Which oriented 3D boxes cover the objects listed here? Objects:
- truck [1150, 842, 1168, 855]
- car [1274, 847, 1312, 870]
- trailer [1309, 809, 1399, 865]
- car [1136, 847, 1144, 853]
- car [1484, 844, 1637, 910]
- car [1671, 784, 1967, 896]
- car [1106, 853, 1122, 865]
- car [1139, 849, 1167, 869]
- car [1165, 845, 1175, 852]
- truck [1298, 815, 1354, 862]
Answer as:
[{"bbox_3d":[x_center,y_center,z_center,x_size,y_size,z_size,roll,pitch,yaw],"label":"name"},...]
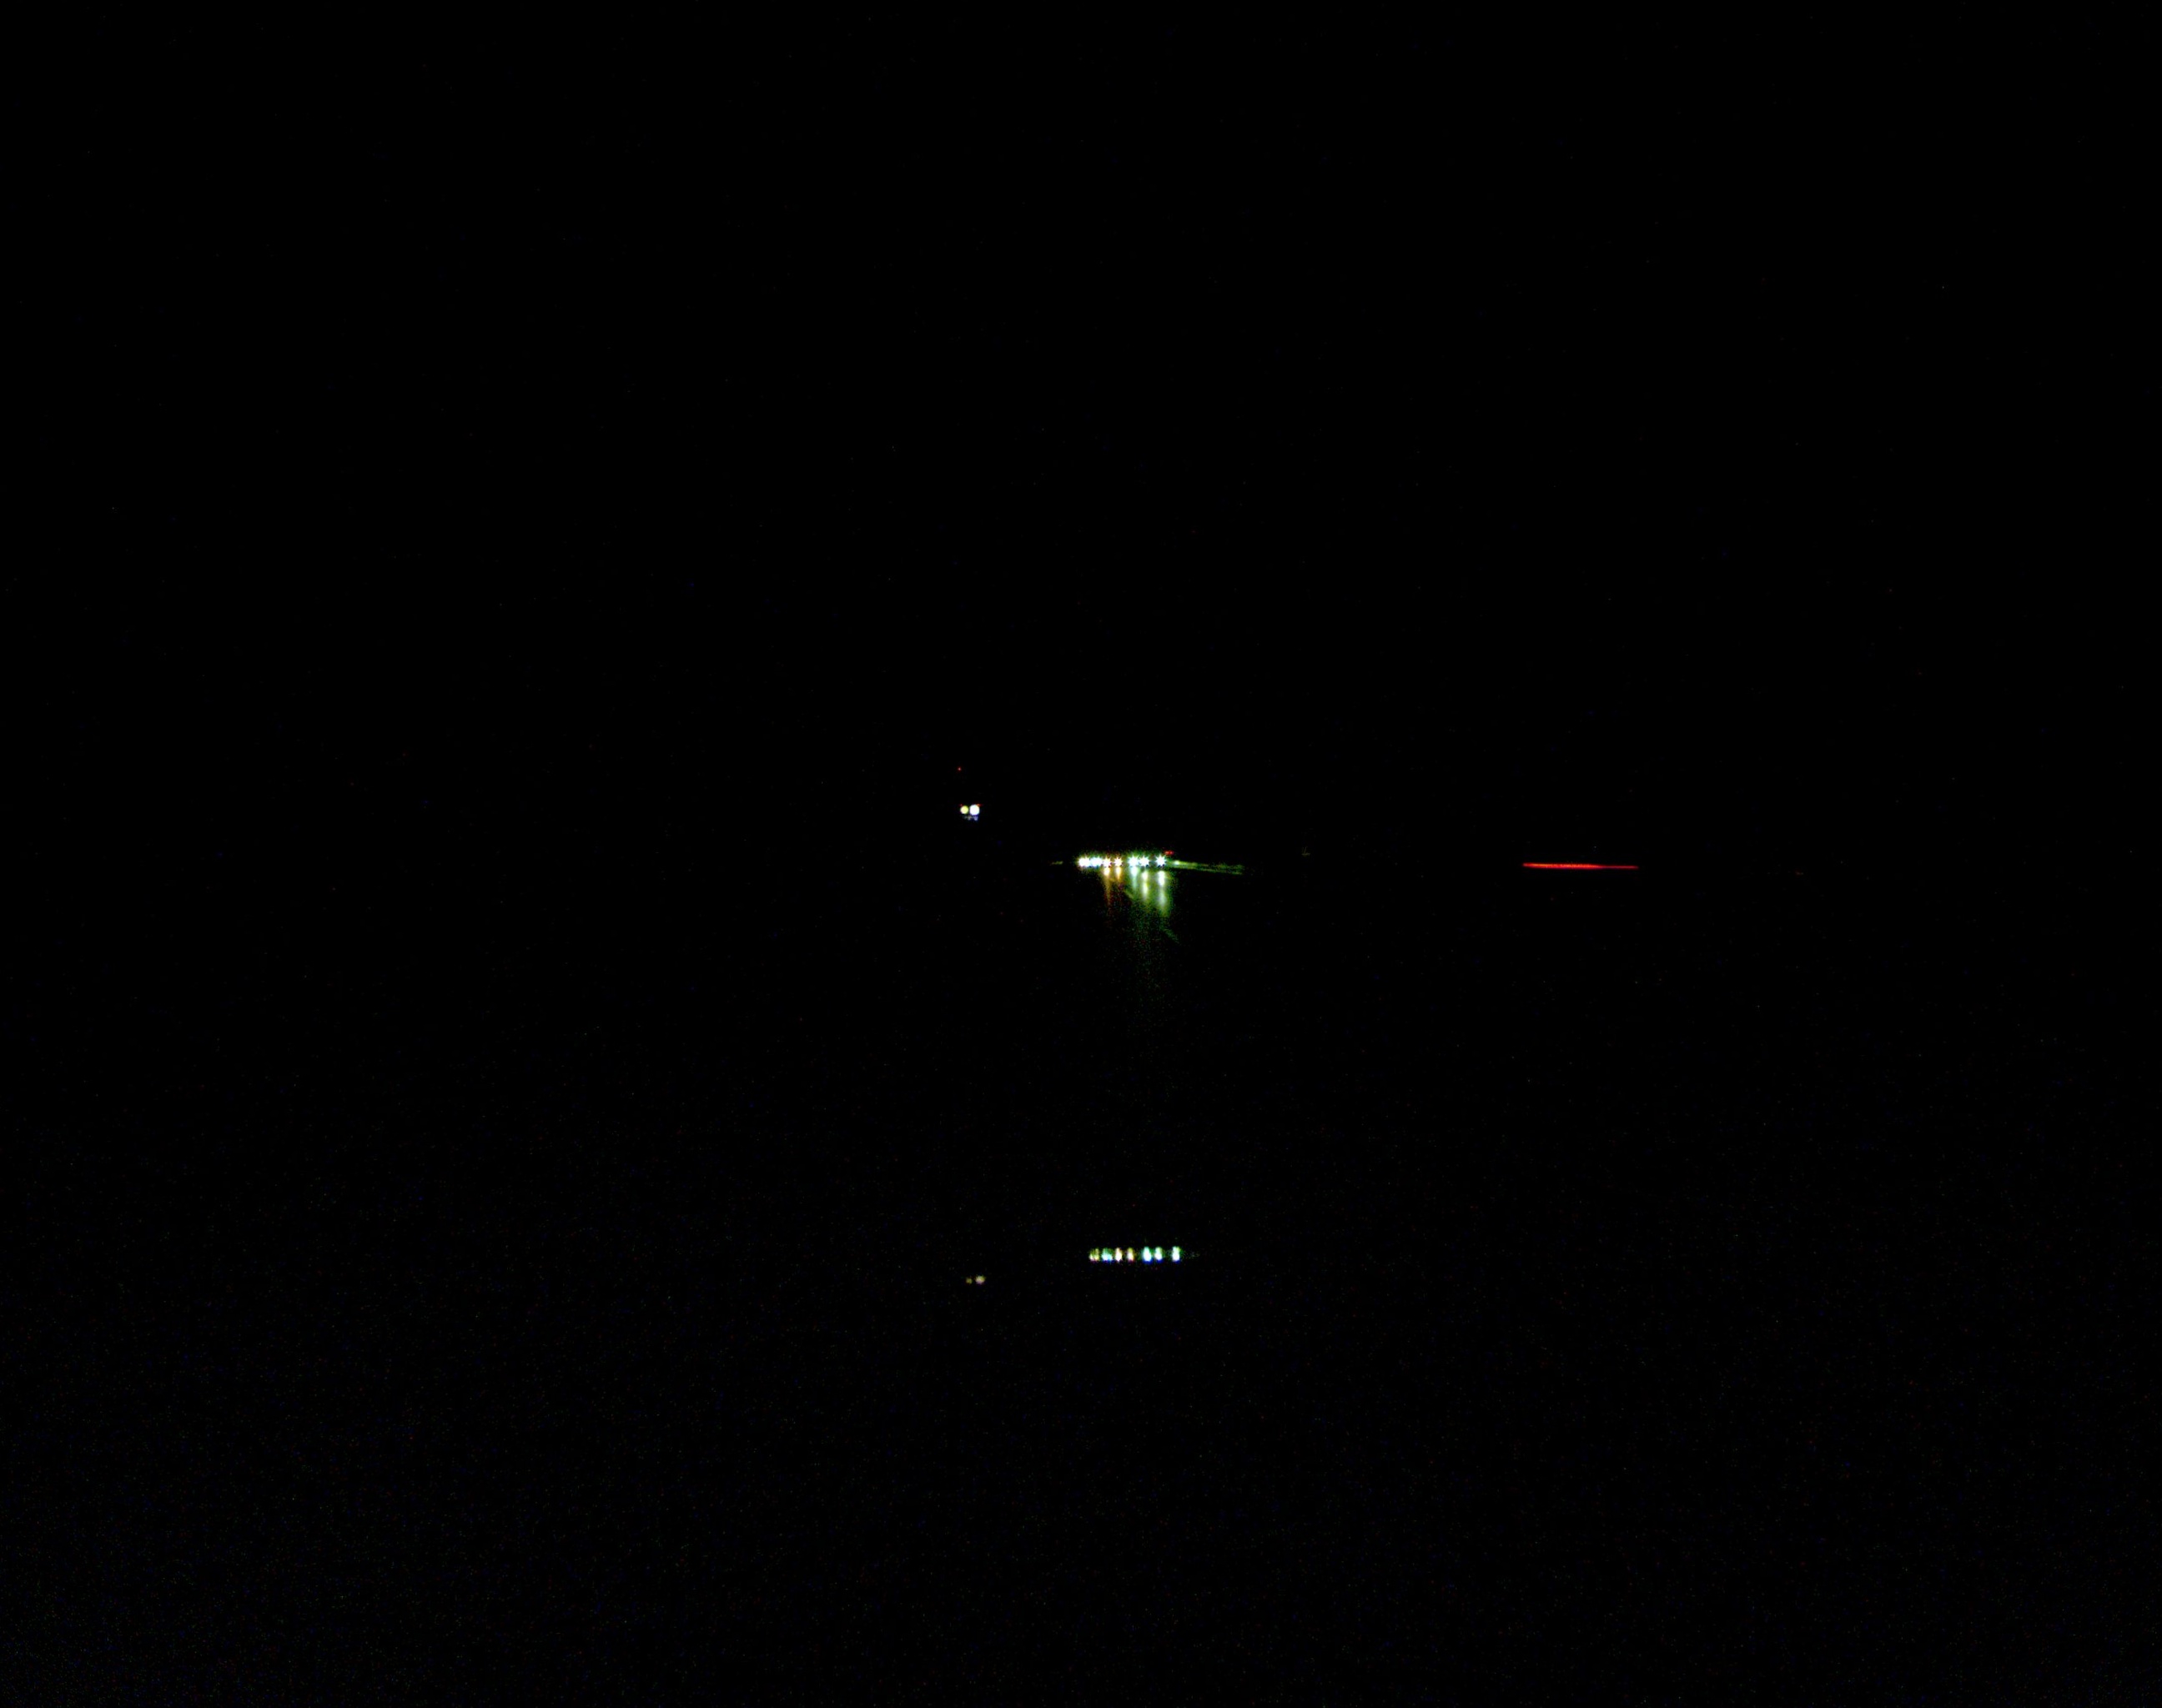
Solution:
[{"bbox_3d":[20.925,-1.498,203.820,3.446,3.413,9.758,-2,0,-1],"label":"truck"},{"bbox_3d":[18.727,0.362,67.315,2.138,1.870,4.654,-2,0,1],"label":"car"},{"bbox_3d":[22.955,-1.367,64.948,3.063,4.209,13.040,-2,0,1],"label":"trailer"},{"bbox_3d":[19.946,-1.429,256.233,2.138,2.086,4.654,-2,0,-1],"label":"car"},{"bbox_3d":[15.963,0.699,25.682,2.202,1.944,4.740,-2,0,1],"label":"car"},{"bbox_3d":[23.089,-0.396,24.468,2.499,3.012,7.139,-2,0,-1],"label":"car"},{"bbox_3d":[4.364,0.674,101.997,1.998,1.423,4.329,-2,1,1],"label":"car"},{"bbox_3d":[6.563,0.421,70.003,1.998,1.711,5.942,-2,0,1],"label":"car"},{"bbox_3d":[25.266,-1.588,216.143,2.138,2.086,4.654,-2,0,-1],"label":"car"},{"bbox_3d":[23.100,-1.404,72.032,3.063,4.209,6.748,-2,0,1],"label":"truck"}]
